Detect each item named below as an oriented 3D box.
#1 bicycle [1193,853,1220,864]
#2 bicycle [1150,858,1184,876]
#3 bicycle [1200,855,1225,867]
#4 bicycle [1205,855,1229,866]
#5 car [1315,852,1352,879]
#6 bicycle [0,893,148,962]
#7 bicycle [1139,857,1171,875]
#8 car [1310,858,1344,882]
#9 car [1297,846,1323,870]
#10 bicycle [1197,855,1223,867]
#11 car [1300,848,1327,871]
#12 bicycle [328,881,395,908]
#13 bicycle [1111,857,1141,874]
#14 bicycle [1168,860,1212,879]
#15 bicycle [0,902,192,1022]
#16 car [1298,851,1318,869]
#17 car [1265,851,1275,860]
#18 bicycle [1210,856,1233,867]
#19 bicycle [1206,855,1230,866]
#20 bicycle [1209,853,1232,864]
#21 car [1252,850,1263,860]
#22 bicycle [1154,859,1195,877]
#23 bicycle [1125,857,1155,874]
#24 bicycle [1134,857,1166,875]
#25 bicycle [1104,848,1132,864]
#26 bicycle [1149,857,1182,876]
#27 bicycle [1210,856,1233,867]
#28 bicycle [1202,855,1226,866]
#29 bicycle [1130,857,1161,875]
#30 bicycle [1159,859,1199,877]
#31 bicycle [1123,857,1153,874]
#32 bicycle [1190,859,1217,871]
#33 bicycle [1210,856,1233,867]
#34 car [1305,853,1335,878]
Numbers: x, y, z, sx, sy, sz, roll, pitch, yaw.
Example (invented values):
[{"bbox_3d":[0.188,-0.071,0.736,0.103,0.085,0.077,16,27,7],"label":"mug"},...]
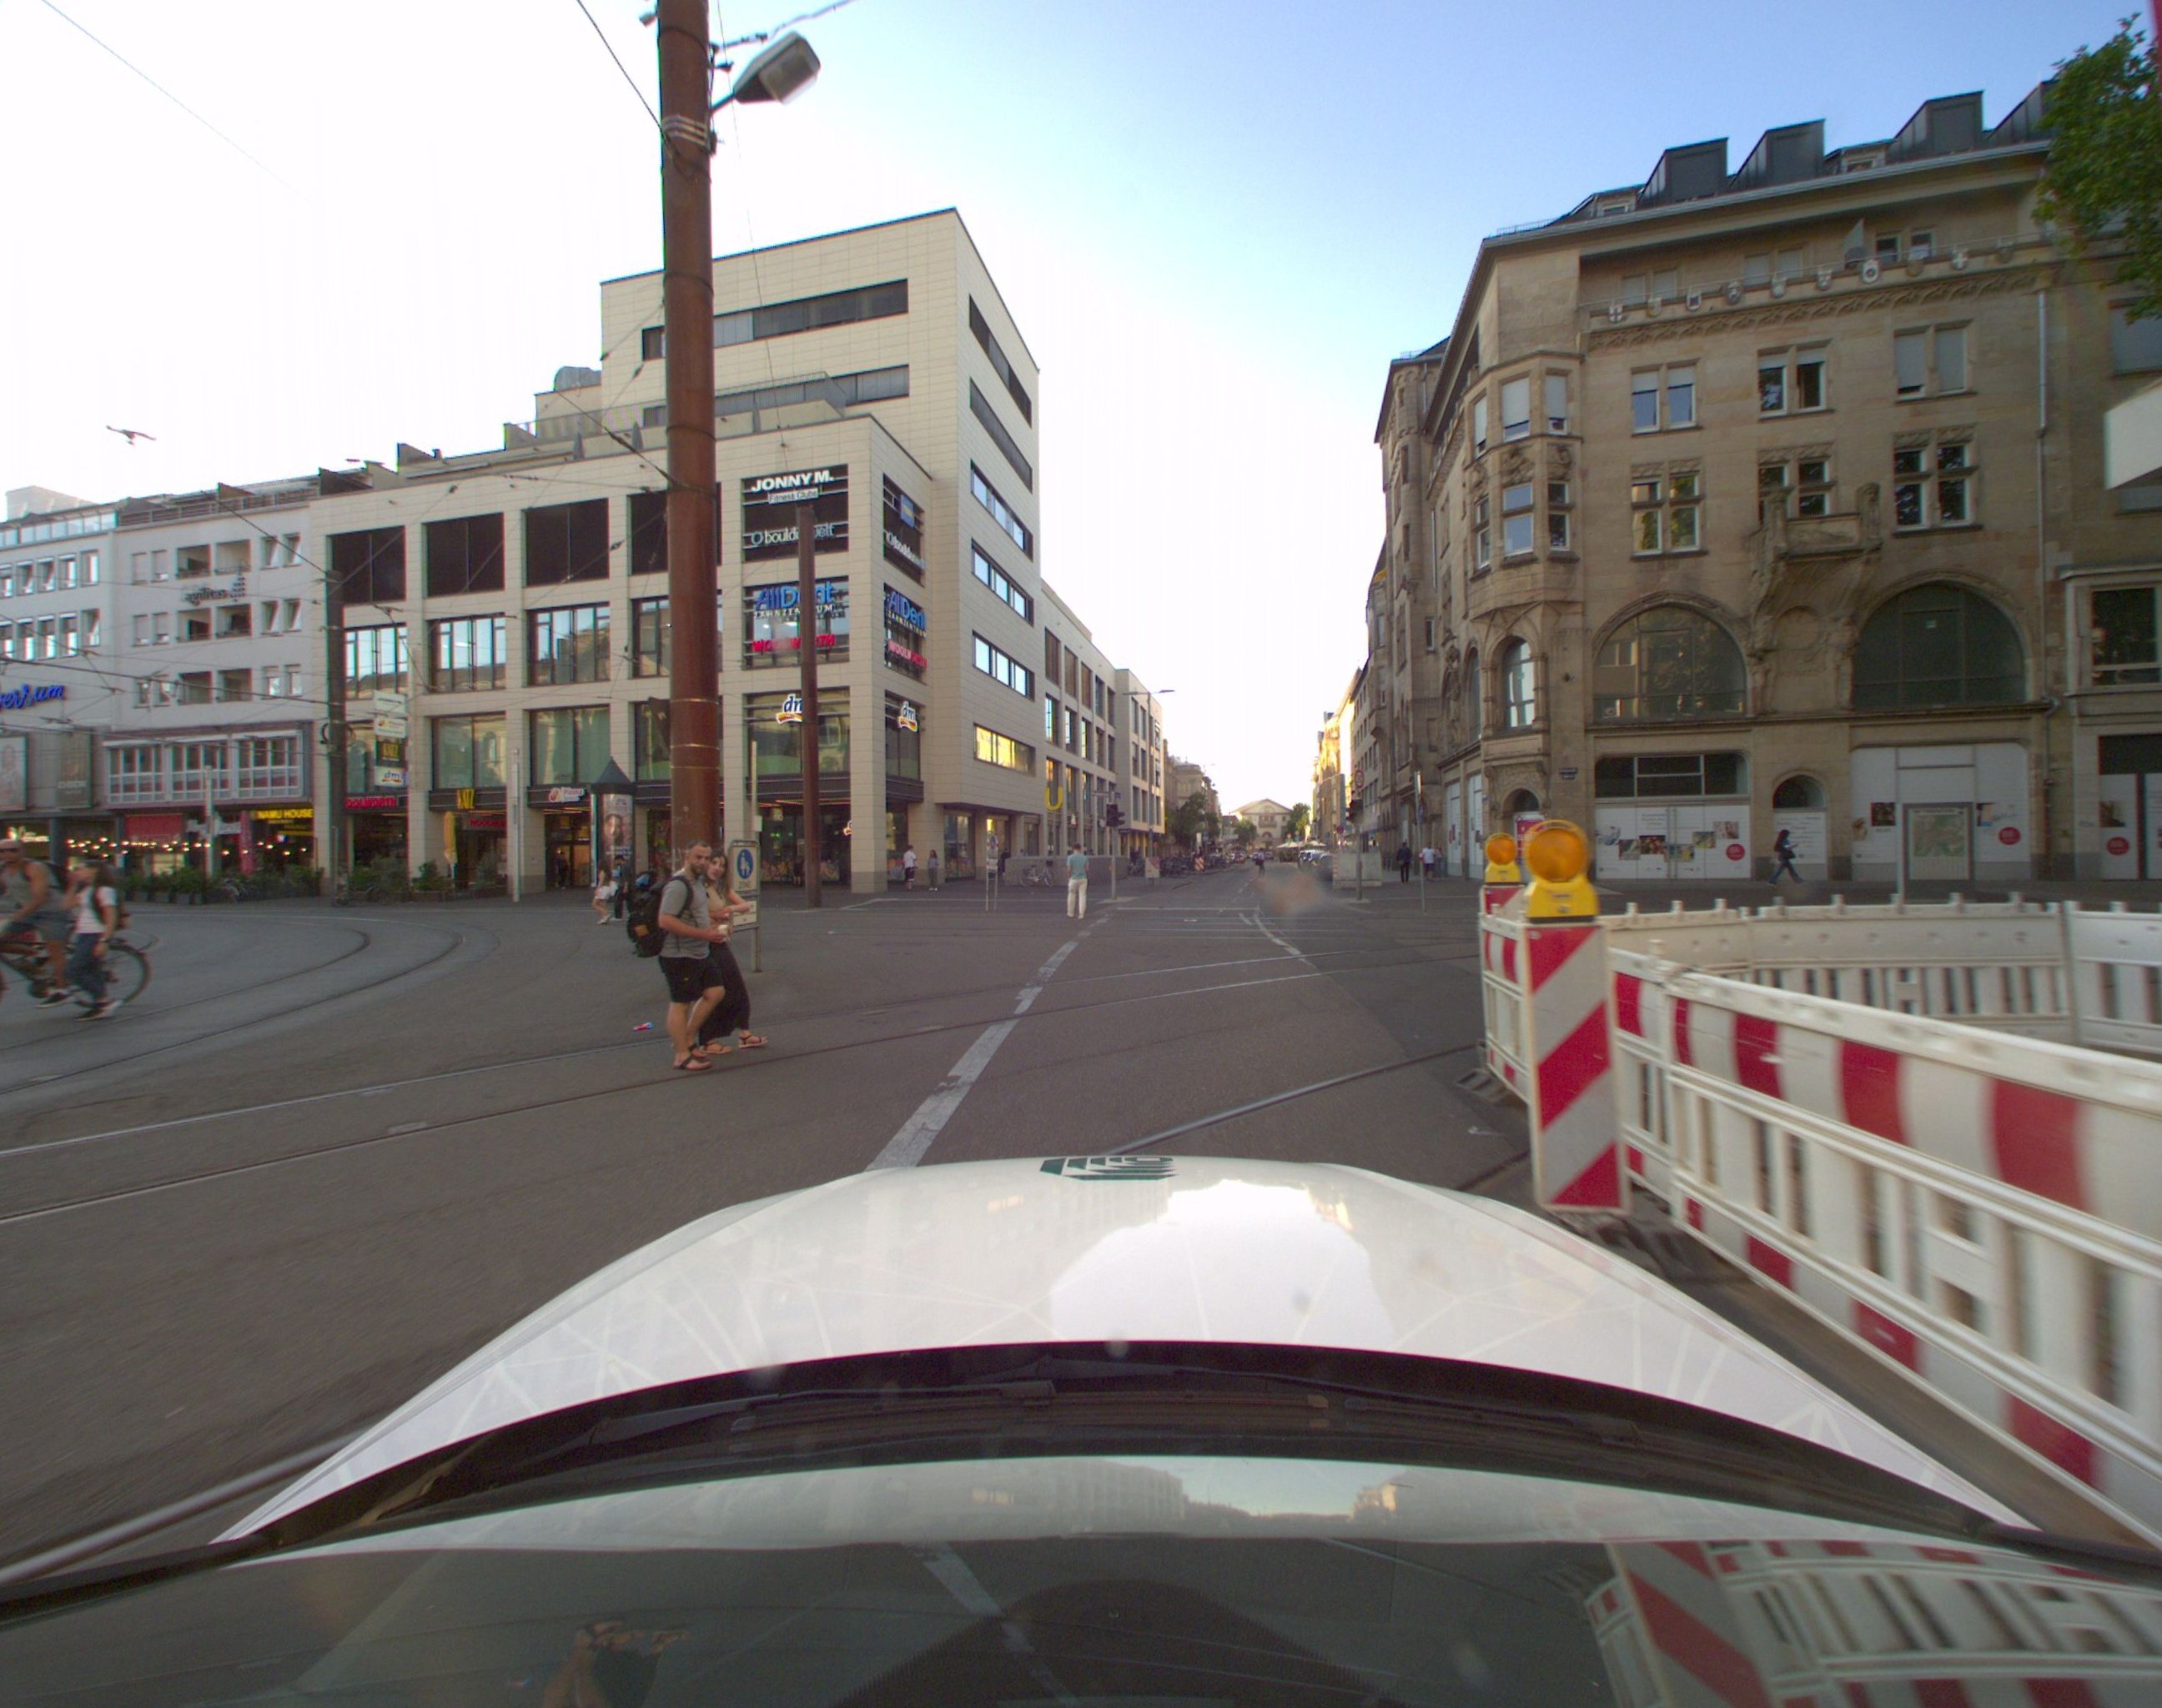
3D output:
[{"bbox_3d":[10.783,0.402,69.943,2.132,0.953,0.643,-1,0,15],"label":"bicycle"},{"bbox_3d":[5.287,0.808,50.113,1.971,1.121,0.555,0,0,-16],"label":"bicycle"},{"bbox_3d":[11.536,0.599,71.555,2.132,1.029,0.643,-1,0,15],"label":"bicycle"},{"bbox_3d":[12.873,0.594,77.076,2.132,1.029,0.643,-1,0,15],"label":"bicycle"},{"bbox_3d":[13.535,0.587,43.782,1.667,1.424,3.686,0,0,13],"label":"car"},{"bbox_3d":[-17.757,1.260,14.183,1.914,1.115,0.698,0,0,-12],"label":"bicycle"},{"bbox_3d":[4.688,0.777,51.862,1.971,1.121,0.555,0,0,-16],"label":"bicycle"},{"bbox_3d":[14.756,0.926,49.029,1.667,1.291,4.061,-2,-1,13],"label":"car"},{"bbox_3d":[18.402,0.318,65.539,1.786,1.768,4.414,-2,-1,13],"label":"car"},{"bbox_3d":[11.214,0.599,70.669,2.132,0.953,0.643,-1,0,15],"label":"bicycle"},{"bbox_3d":[17.121,0.395,60.136,1.667,1.613,4.043,-2,-1,13],"label":"car"},{"bbox_3d":[-27.817,1.544,31.521,1.937,0.986,0.445,0,0,-41],"label":"bicycle"},{"bbox_3d":[3.115,0.794,56.389,1.971,1.121,0.555,0,0,-16],"label":"bicycle"},{"bbox_3d":[7.593,1.043,56.621,2.889,1.255,0.800,-1,0,-13],"label":"bicycle"},{"bbox_3d":[-11.079,1.134,8.791,0.570,1.098,2.026,0,0,7],"label":"bicycle"},{"bbox_3d":[22.759,0.581,81.692,1.667,1.666,3.686,-2,-1,13],"label":"car"},{"bbox_3d":[40.562,0.246,174.701,1.980,1.904,4.015,0,0,13],"label":"car"},{"bbox_3d":[13.945,0.750,80.774,2.132,1.029,0.643,-1,0,15],"label":"bicycle"},{"bbox_3d":[12.861,0.596,76.326,2.132,1.029,0.643,-1,0,15],"label":"bicycle"},{"bbox_3d":[13.575,0.395,79.000,2.132,1.029,0.643,-1,0,15],"label":"bicycle"},{"bbox_3d":[33.604,0.252,154.873,1.980,1.904,4.015,0,0,13],"label":"car"},{"bbox_3d":[6.910,1.032,60.157,2.889,1.255,0.800,-1,0,-13],"label":"bicycle"},{"bbox_3d":[3.915,0.768,53.977,1.971,1.121,0.555,0,0,-16],"label":"bicycle"},{"bbox_3d":[4.449,0.774,52.580,1.971,1.121,0.555,0,0,-16],"label":"bicycle"},{"bbox_3d":[2.666,0.163,58.344,1.971,1.121,0.555,0,0,-16],"label":"bicycle"},{"bbox_3d":[5.265,0.782,50.844,1.971,1.121,0.555,0,0,-16],"label":"bicycle"},{"bbox_3d":[14.064,0.749,81.494,2.132,1.029,0.643,-1,0,15],"label":"bicycle"},{"bbox_3d":[12.338,0.595,75.634,2.132,1.029,0.643,-1,0,15],"label":"bicycle"},{"bbox_3d":[4.206,0.772,53.257,1.971,1.121,0.555,0,0,-16],"label":"bicycle"},{"bbox_3d":[7.411,1.032,61.558,2.889,1.255,0.800,-1,0,-13],"label":"bicycle"},{"bbox_3d":[3.837,0.801,55.138,1.971,1.121,0.555,0,0,-16],"label":"bicycle"},{"bbox_3d":[10.237,0.893,67.978,2.132,0.953,0.643,-1,0,15],"label":"bicycle"},{"bbox_3d":[13.754,0.751,79.751,2.132,1.029,0.643,-1,0,15],"label":"bicycle"},{"bbox_3d":[15.835,0.728,54.140,1.667,1.547,3.686,-2,-1,13],"label":"car"}]
